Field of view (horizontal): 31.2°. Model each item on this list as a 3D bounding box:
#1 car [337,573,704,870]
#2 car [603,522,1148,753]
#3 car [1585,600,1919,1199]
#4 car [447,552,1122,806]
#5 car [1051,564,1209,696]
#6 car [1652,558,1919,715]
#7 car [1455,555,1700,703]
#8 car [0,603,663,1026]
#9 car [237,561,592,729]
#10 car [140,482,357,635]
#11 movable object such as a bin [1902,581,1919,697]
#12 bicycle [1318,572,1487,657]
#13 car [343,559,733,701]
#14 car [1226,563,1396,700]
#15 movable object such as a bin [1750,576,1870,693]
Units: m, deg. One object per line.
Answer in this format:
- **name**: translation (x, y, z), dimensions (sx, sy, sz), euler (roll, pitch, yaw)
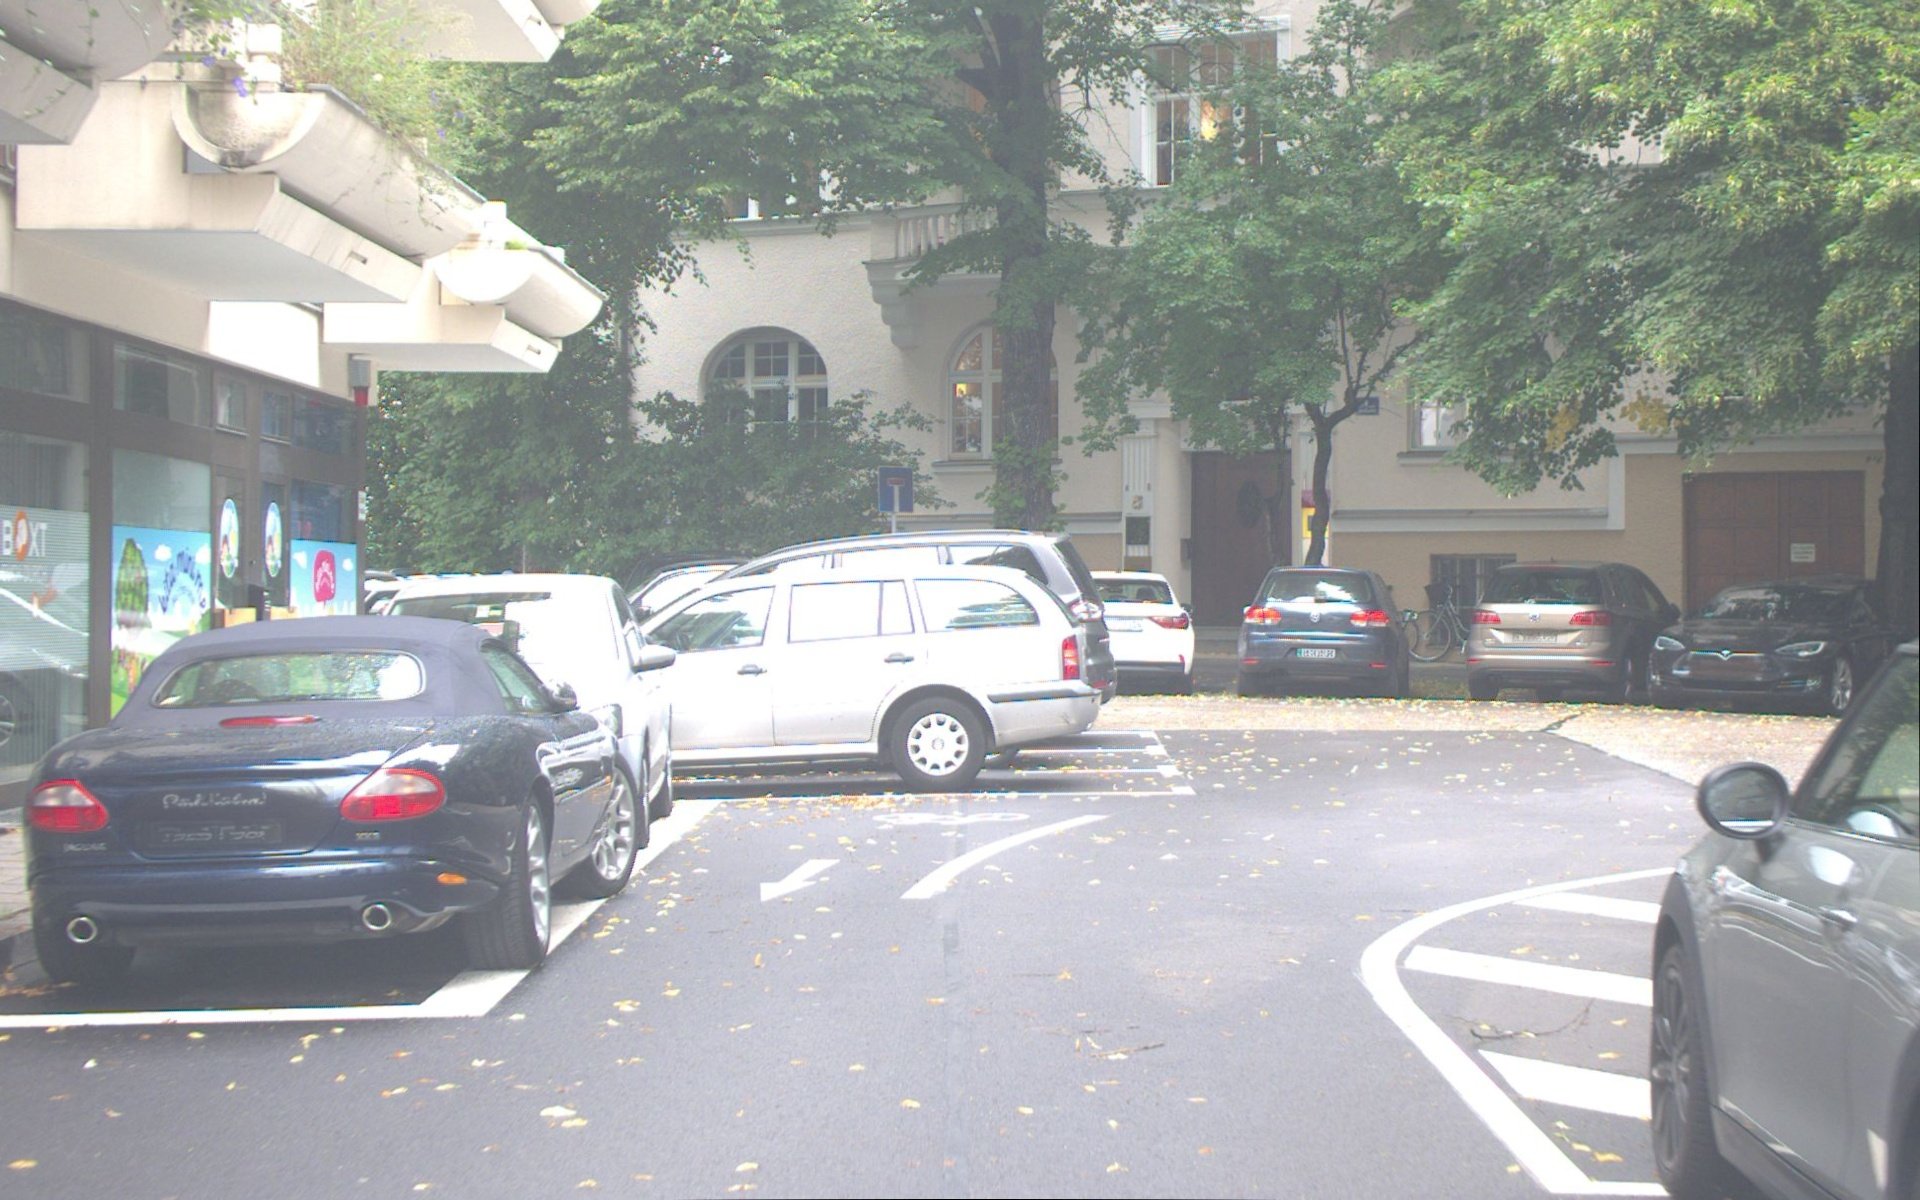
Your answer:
- **car**: translation (-2.319, 0.586, 18.948), dimensions (1.560, 1.416, 3.833), euler (-2, 1, -1)
- **car**: translation (-0.684, 0.282, 27.930), dimensions (4.219, 1.678, 1.903), euler (-2, 1, -1)
- **car**: translation (2.480, 0.734, 7.011), dimensions (1.743, 1.436, 4.000), euler (0, 0, 1)
- **car**: translation (-1.118, 0.488, 22.683), dimensions (4.227, 1.450, 1.721), euler (-2, 1, 0)
- **car**: translation (1.956, 0.308, 39.895), dimensions (1.718, 1.426, 4.000), euler (1, 1, 2)
- **car**: translation (8.766, 0.416, 35.835), dimensions (1.707, 1.462, 4.281), euler (2, -1, 30)
- **car**: translation (6.917, 0.296, 38.190), dimensions (1.841, 1.525, 4.020), euler (1, 0, 23)
- **car**: translation (-2.273, 0.705, 13.571), dimensions (1.797, 1.273, 4.617), euler (-2, 1, 0)
- **car**: translation (-5.479, 0.445, 34.479), dimensions (3.287, 1.625, 1.510), euler (1, 0, -19)
- **car**: translation (-7.863, -0.464, 38.313), dimensions (1.700, 1.596, 4.000), euler (1, 1, -2)
- **movable object such as a bin**: translation (11.583, 0.451, 40.370), dimensions (0.714, 1.343, 1.371), euler (1, 1, 28)
- **bicycle**: translation (6.078, 0.188, 47.258), dimensions (2.232, 1.111, 0.576), euler (1, 1, 29)
- **car**: translation (-4.004, 0.277, 32.509), dimensions (3.448, 1.280, 1.531), euler (1, 1, -16)
- **car**: translation (3.994, 0.314, 38.734), dimensions (1.792, 1.426, 3.999), euler (1, 1, 7)
- **movable object such as a bin**: translation (10.154, 0.397, 41.030), dimensions (1.151, 1.344, 1.155), euler (2, 1, 26)
